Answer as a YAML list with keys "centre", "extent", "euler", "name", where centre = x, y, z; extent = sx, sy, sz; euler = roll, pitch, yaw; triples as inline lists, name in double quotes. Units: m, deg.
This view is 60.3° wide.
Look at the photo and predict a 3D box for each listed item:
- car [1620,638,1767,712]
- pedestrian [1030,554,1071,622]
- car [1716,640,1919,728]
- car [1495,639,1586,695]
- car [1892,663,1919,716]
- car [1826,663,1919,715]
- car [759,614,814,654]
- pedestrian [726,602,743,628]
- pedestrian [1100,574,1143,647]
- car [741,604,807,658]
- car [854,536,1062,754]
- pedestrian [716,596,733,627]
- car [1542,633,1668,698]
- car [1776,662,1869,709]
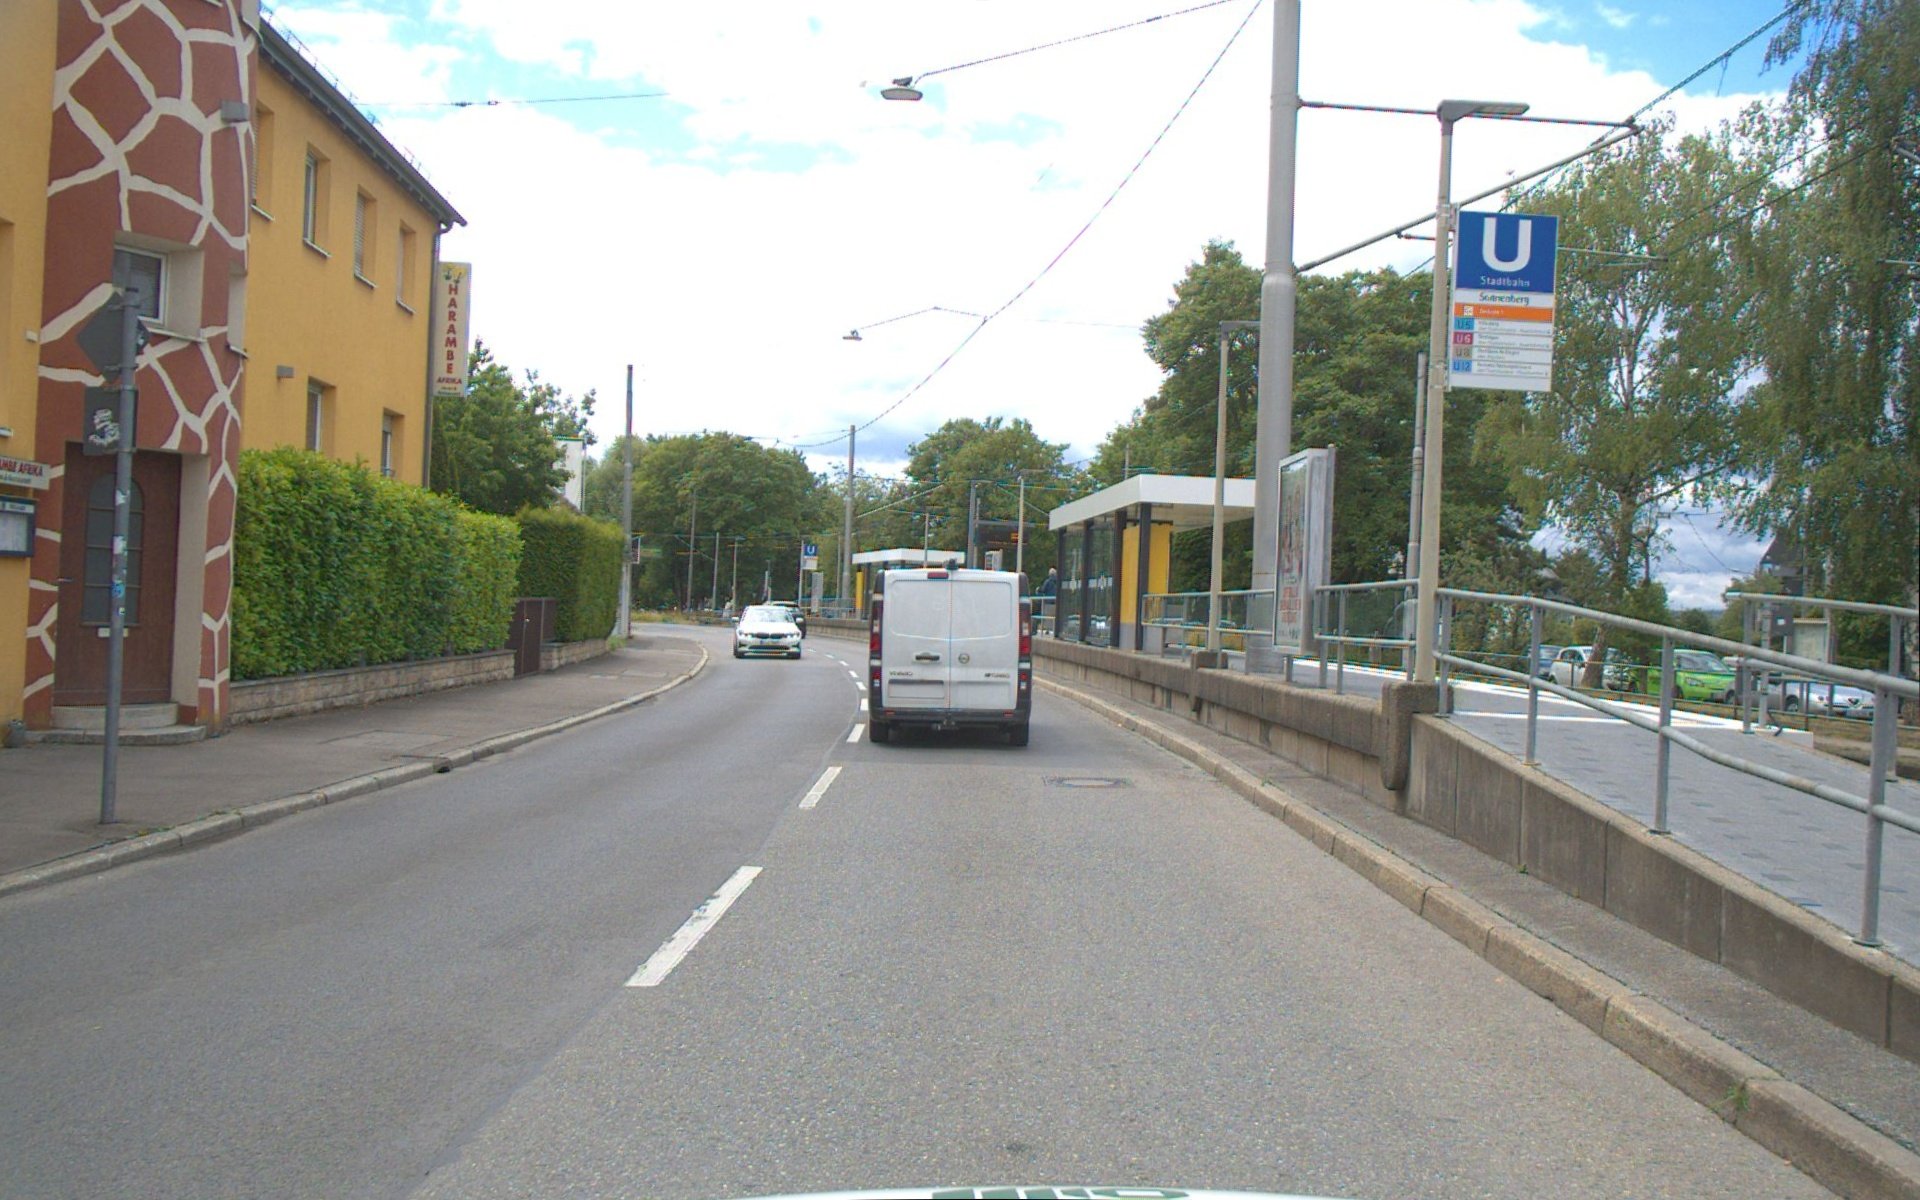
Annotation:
- centre: [17.996, 1.810, 40.784]
  extent: [1.695, 1.601, 3.998]
  euler: [2, 0, -2]
  name: "car"
- centre: [2.323, -0.296, 42.646]
  extent: [0.869, 1.700, 0.908]
  euler: [2, -1, -6]
  name: "pedestrian"
- centre: [18.215, 1.730, 35.317]
  extent: [2.022, 1.601, 4.258]
  euler: [2, 0, -2]
  name: "car"
- centre: [17.790, 2.014, 50.847]
  extent: [1.801, 1.514, 4.505]
  euler: [2, 0, 9]
  name: "car"
- centre: [28.320, 2.591, 46.938]
  extent: [1.719, 1.514, 4.932]
  euler: [2, -2, 10]
  name: "car"
- centre: [29.349, 2.799, 52.717]
  extent: [1.719, 1.514, 4.700]
  euler: [2, -2, 10]
  name: "car"
- centre: [-7.805, 1.506, 74.089]
  extent: [2.311, 1.591, 4.365]
  euler: [4, -1, -7]
  name: "car"
- centre: [-13.345, 0.869, 97.923]
  extent: [0.754, 1.518, 0.622]
  euler: [2, -1, -40]
  name: "pedestrian"
- centre: [3.015, 0.203, 30.903]
  extent: [0.608, 1.321, 0.718]
  euler: [2, -1, -7]
  name: "pedestrian"
- centre: [-5.293, 0.857, 47.146]
  extent: [1.783, 1.444, 4.457]
  euler: [0, 0, -6]
  name: "car"
- centre: [-0.012, 0.504, 20.125]
  extent: [2.074, 2.171, 5.440]
  euler: [3, -1, 0]
  name: "car"
- centre: [-14.128, 0.709, 99.316]
  extent: [0.754, 1.826, 0.622]
  euler: [2, -1, -40]
  name: "pedestrian"
- centre: [17.786, 1.777, 45.806]
  extent: [1.721, 1.601, 4.098]
  euler: [2, 0, -2]
  name: "car"
- centre: [30.321, 2.993, 58.270]
  extent: [1.719, 1.514, 3.903]
  euler: [2, -2, 8]
  name: "car"
